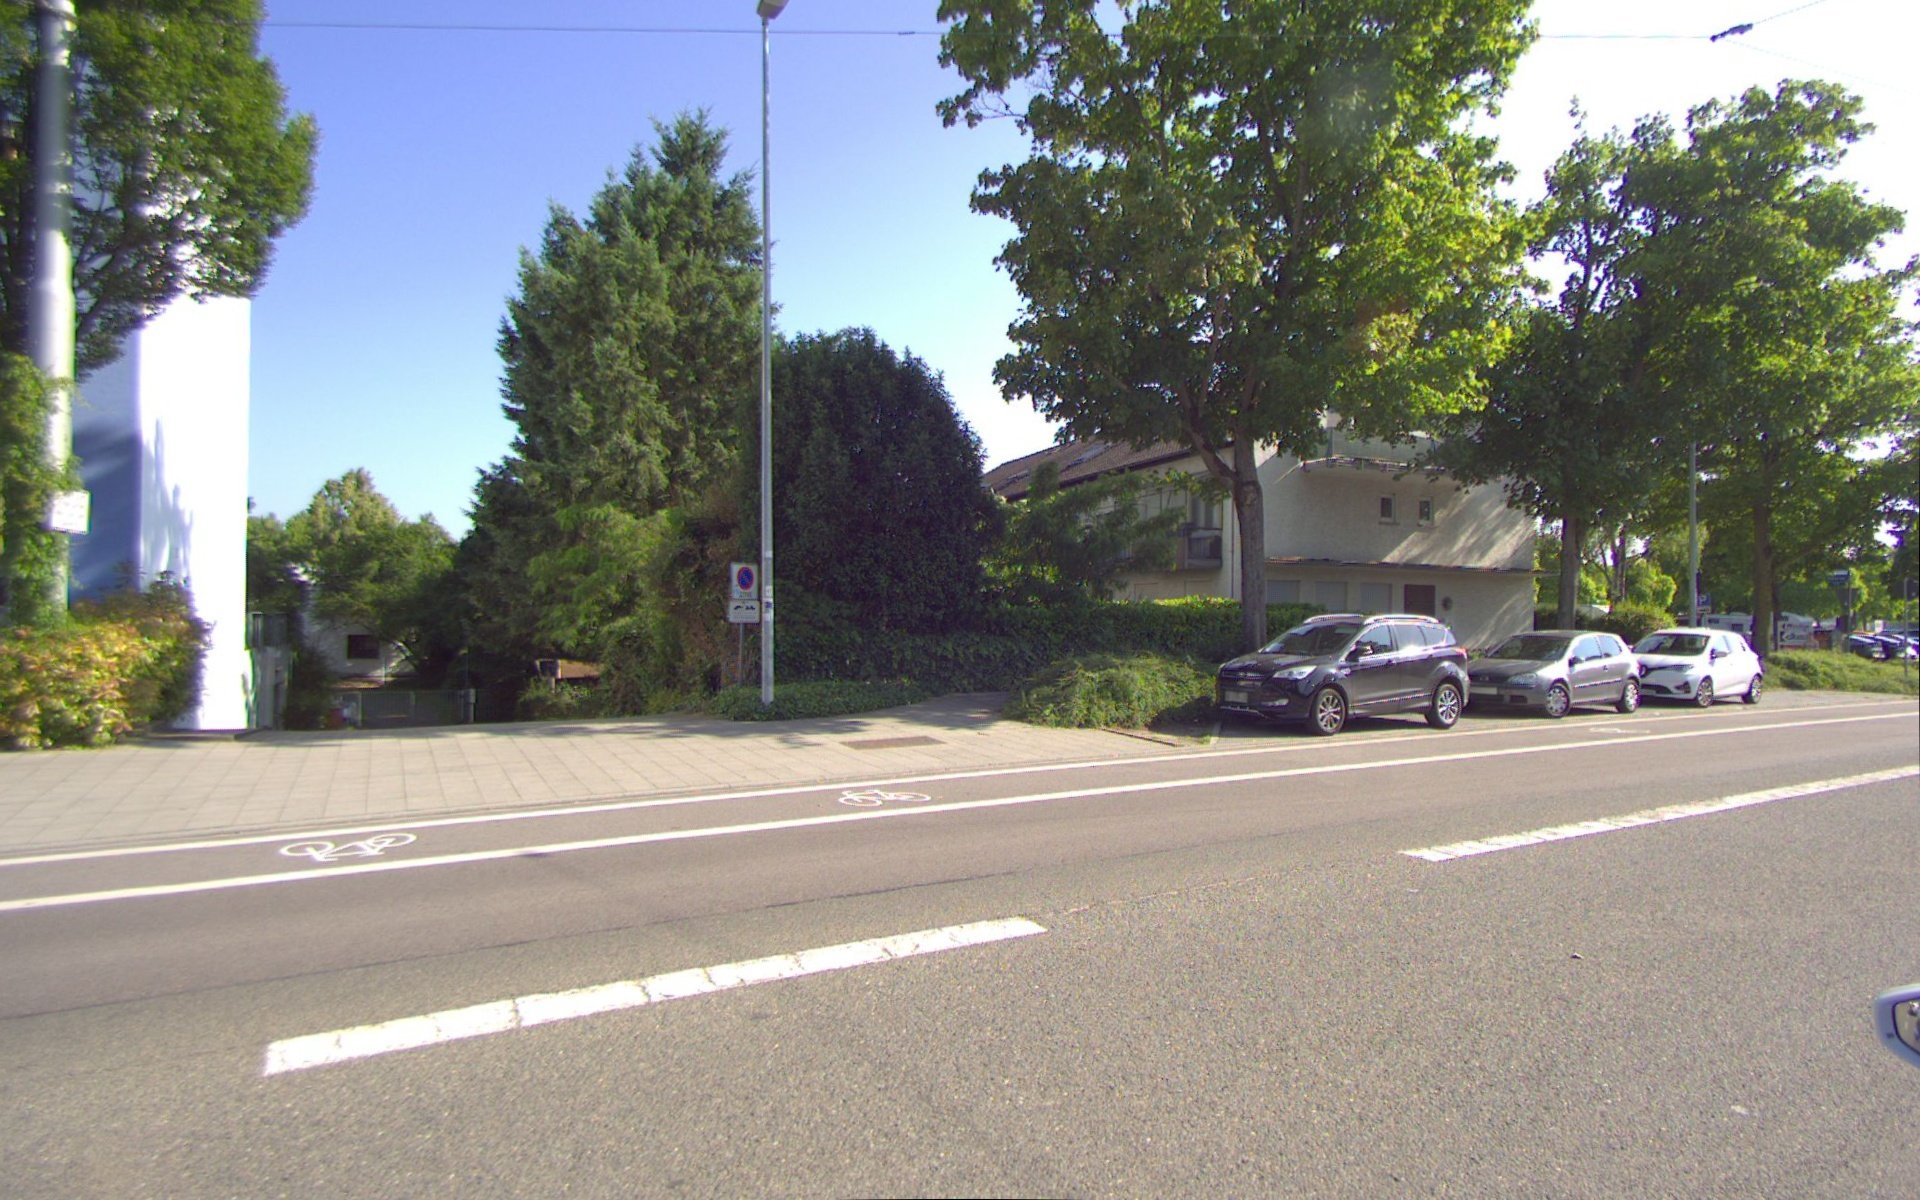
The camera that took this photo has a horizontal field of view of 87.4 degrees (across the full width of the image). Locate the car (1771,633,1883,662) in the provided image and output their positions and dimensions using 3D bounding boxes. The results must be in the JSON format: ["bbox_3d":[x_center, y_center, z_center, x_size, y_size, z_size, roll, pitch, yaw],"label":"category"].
[{"bbox_3d":[43.284,2.347,50.231,1.719,1.324,3.964,1,-1,-33],"label":"car"}]

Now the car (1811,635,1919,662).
[{"bbox_3d":[48.123,2.536,53.471,1.719,1.324,3.964,1,-1,-33],"label":"car"}]

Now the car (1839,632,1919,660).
[{"bbox_3d":[50.242,2.490,54.168,1.719,1.416,3.964,1,-1,-33],"label":"car"}]

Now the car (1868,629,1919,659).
[{"bbox_3d":[54.784,2.482,56.889,2.026,1.673,4.594,1,-1,-31],"label":"car"}]

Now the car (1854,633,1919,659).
[{"bbox_3d":[52.616,2.557,55.928,1.719,1.416,3.964,1,-1,-33],"label":"car"}]

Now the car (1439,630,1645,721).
[{"bbox_3d":[10.722,1.317,18.436,3.925,1.488,1.667,1,-1,-33],"label":"car"}]

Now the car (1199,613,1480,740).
[{"bbox_3d":[5.874,1.087,15.416,4.370,1.716,1.666,1,-1,-30],"label":"car"}]

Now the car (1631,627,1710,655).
[{"bbox_3d":[46.922,2.697,66.385,1.611,1.751,3.959,1,-1,-36],"label":"car"}]

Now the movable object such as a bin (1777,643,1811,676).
[{"bbox_3d":[29.557,2.098,35.595,1.246,1.161,0.539,1,-1,-30],"label":"movable object such as a bin"}]

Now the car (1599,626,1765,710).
[{"bbox_3d":[15.362,1.378,21.315,3.854,1.571,1.591,1,1,-34],"label":"car"}]

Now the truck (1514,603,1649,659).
[{"bbox_3d":[38.044,1.865,61.733,1.965,3.285,6.926,1,-1,-31],"label":"truck"}]

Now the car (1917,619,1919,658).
[{"bbox_3d":[61.757,2.367,60.710,2.063,2.455,5.351,1,-1,-29],"label":"car"}]

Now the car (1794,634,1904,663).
[{"bbox_3d":[45.511,2.462,51.492,1.719,1.324,3.964,1,-1,-33],"label":"car"}]

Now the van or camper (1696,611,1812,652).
[{"bbox_3d":[59.082,2.311,74.946,2.279,2.906,6.436,1,-1,-29],"label":"van or camper"}]

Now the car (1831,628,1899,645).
[{"bbox_3d":[76.437,3.062,84.895,1.719,1.416,3.964,1,-1,-33],"label":"car"}]

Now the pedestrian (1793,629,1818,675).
[{"bbox_3d":[30.367,1.858,36.063,0.603,1.649,0.522,1,-1,-30],"label":"pedestrian"}]
